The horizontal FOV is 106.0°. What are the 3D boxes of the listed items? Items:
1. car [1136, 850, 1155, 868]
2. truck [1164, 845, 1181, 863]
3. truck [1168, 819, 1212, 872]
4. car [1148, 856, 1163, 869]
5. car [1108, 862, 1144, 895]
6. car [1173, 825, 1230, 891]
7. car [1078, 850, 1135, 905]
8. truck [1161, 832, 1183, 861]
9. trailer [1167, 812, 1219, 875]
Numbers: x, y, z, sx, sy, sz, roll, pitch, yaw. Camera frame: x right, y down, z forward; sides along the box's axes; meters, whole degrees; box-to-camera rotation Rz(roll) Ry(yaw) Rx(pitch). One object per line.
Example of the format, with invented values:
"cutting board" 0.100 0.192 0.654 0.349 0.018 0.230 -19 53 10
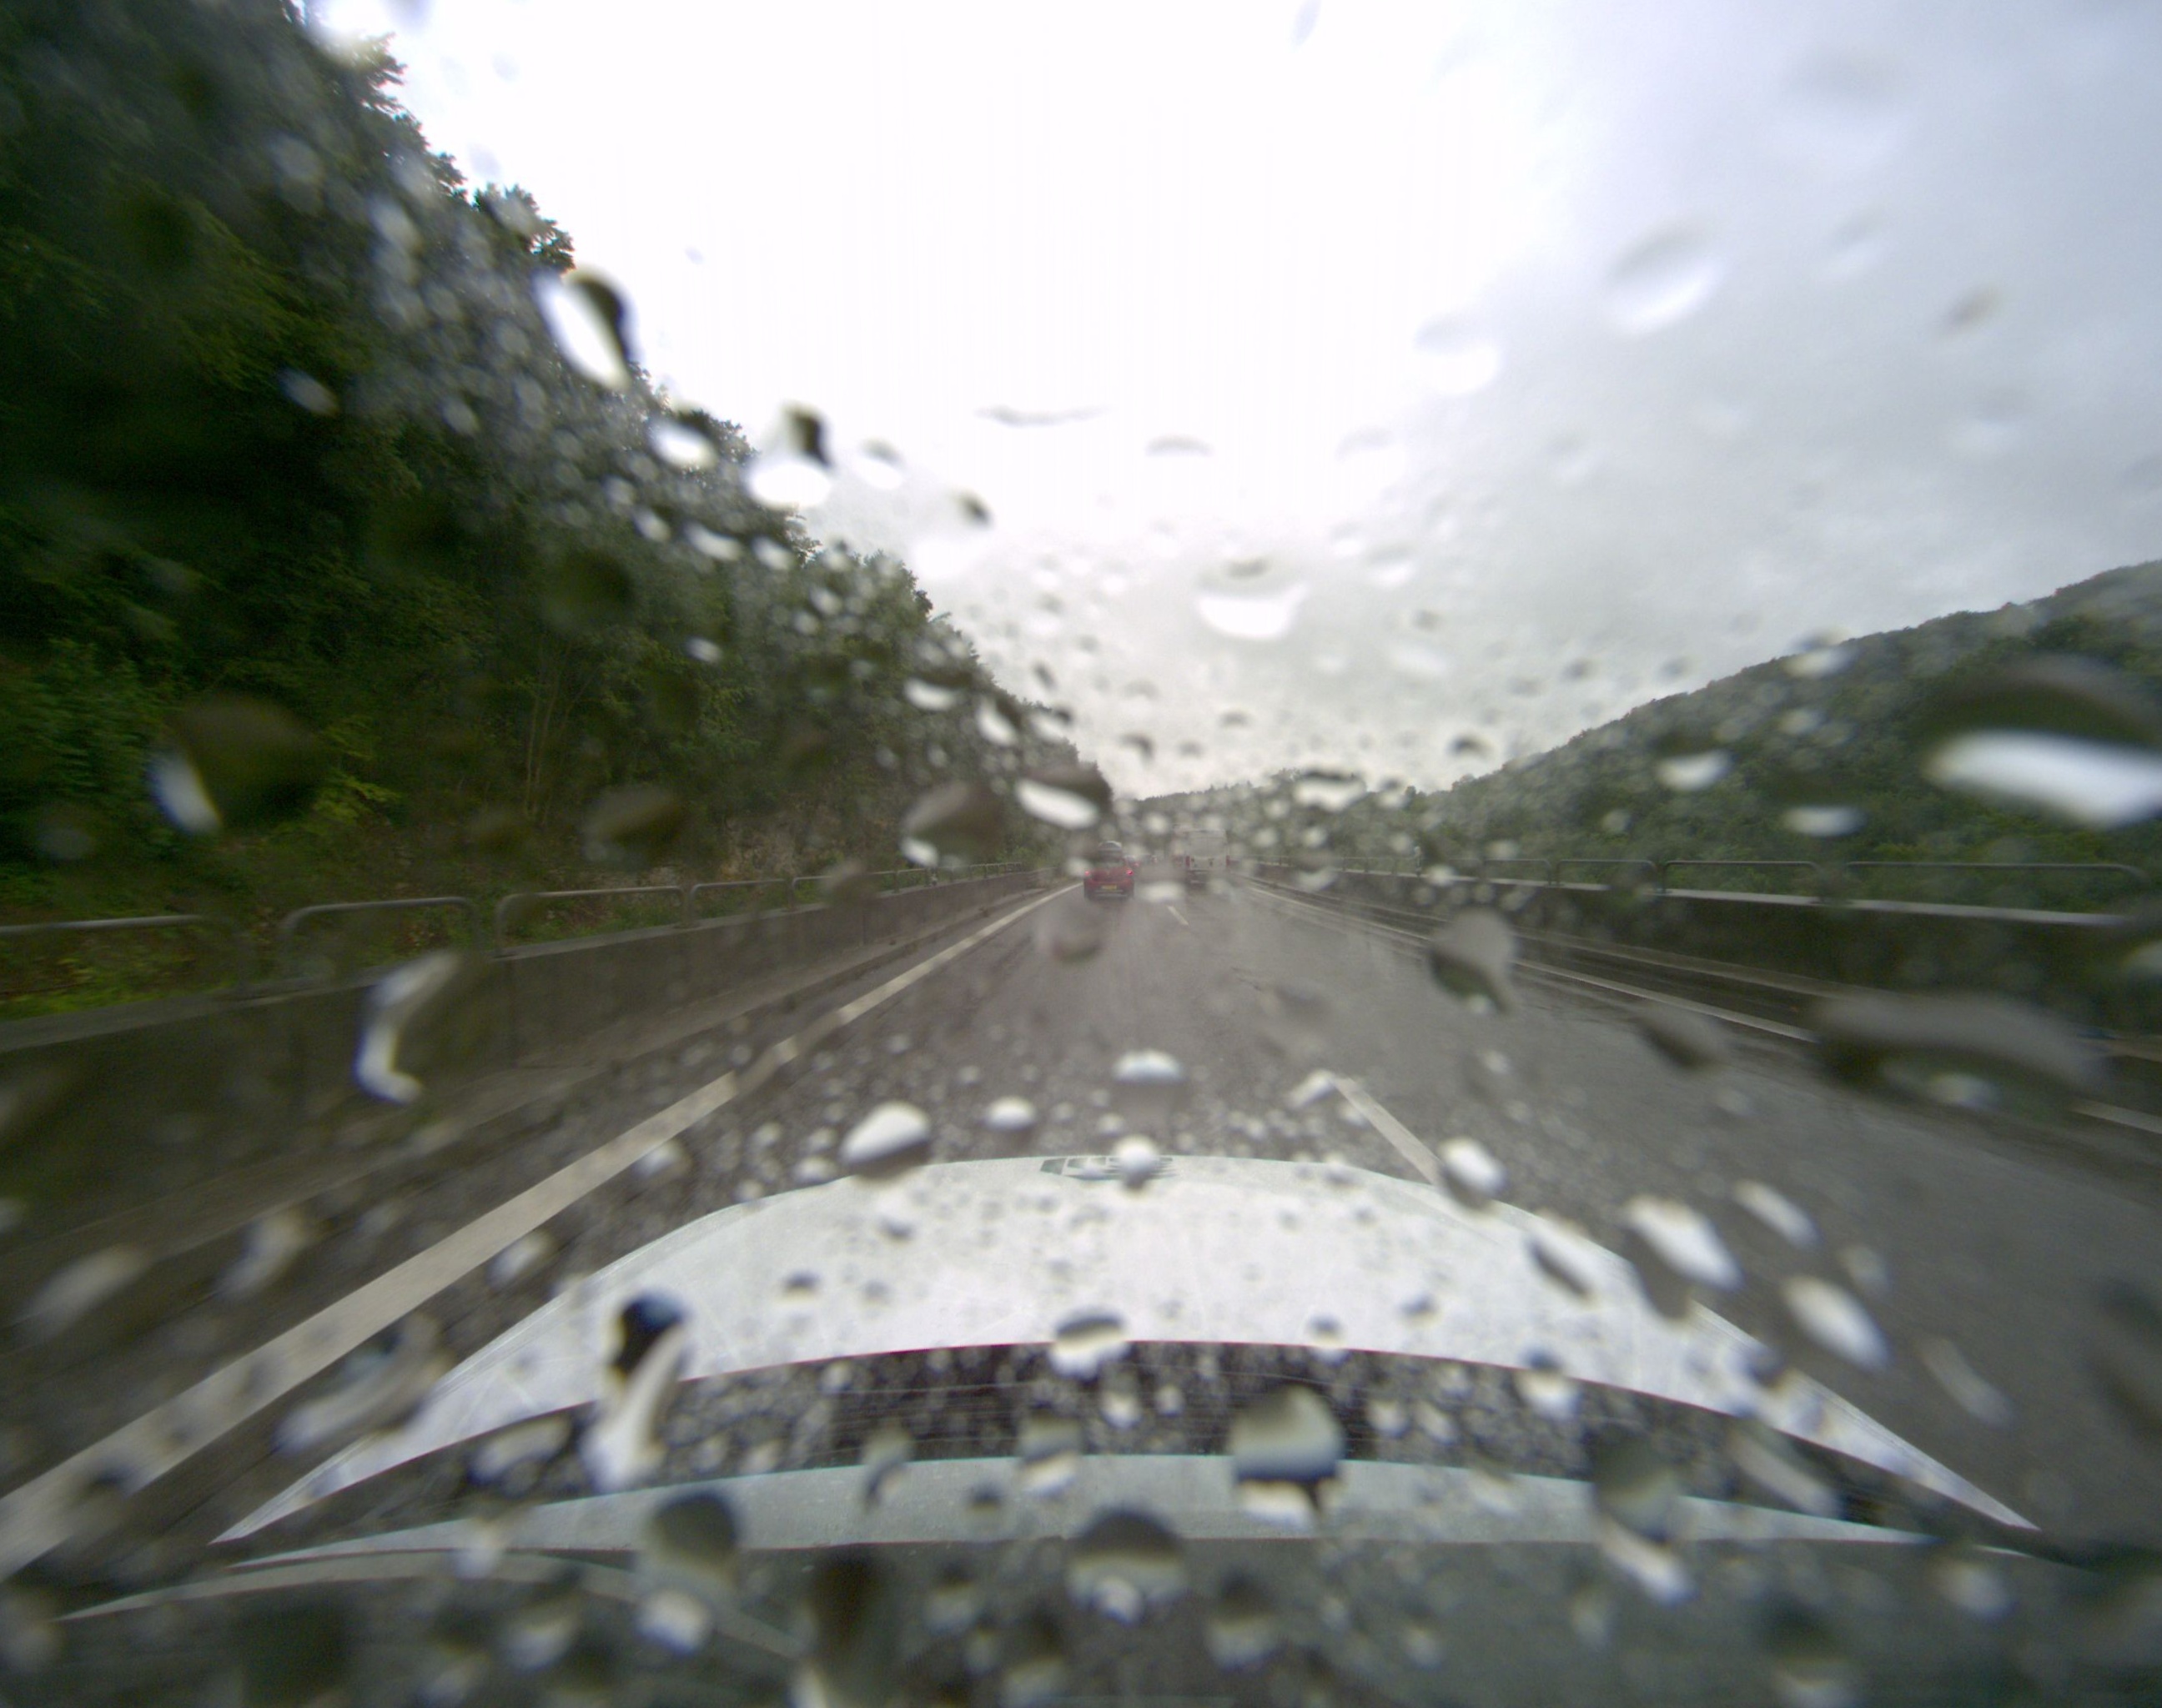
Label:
"car" 6.865 0.497 86.810 1.866 1.706 3.894 -5 -1 5
"truck" 17.607 -0.079 157.086 3.047 3.312 8.081 -1 0 5
"truck" 8.841 -0.685 66.361 3.203 3.978 5.448 -3 0 6
"car" 11.007 1.250 119.844 1.983 1.639 4.008 -5 -1 7
"car" 2.638 1.376 47.297 1.825 1.715 3.649 -5 -1 4
"car" 5.680 0.187 39.216 2.195 2.794 7.392 -1 0 5
"car" 0.959 0.797 28.889 1.751 1.684 4.003 -5 -1 3
"truck" 13.669 -1.073 122.452 2.675 4.094 9.326 -5 -1 4
"trailer" 8.082 -0.675 59.827 3.202 3.999 13.548 -3 0 6
